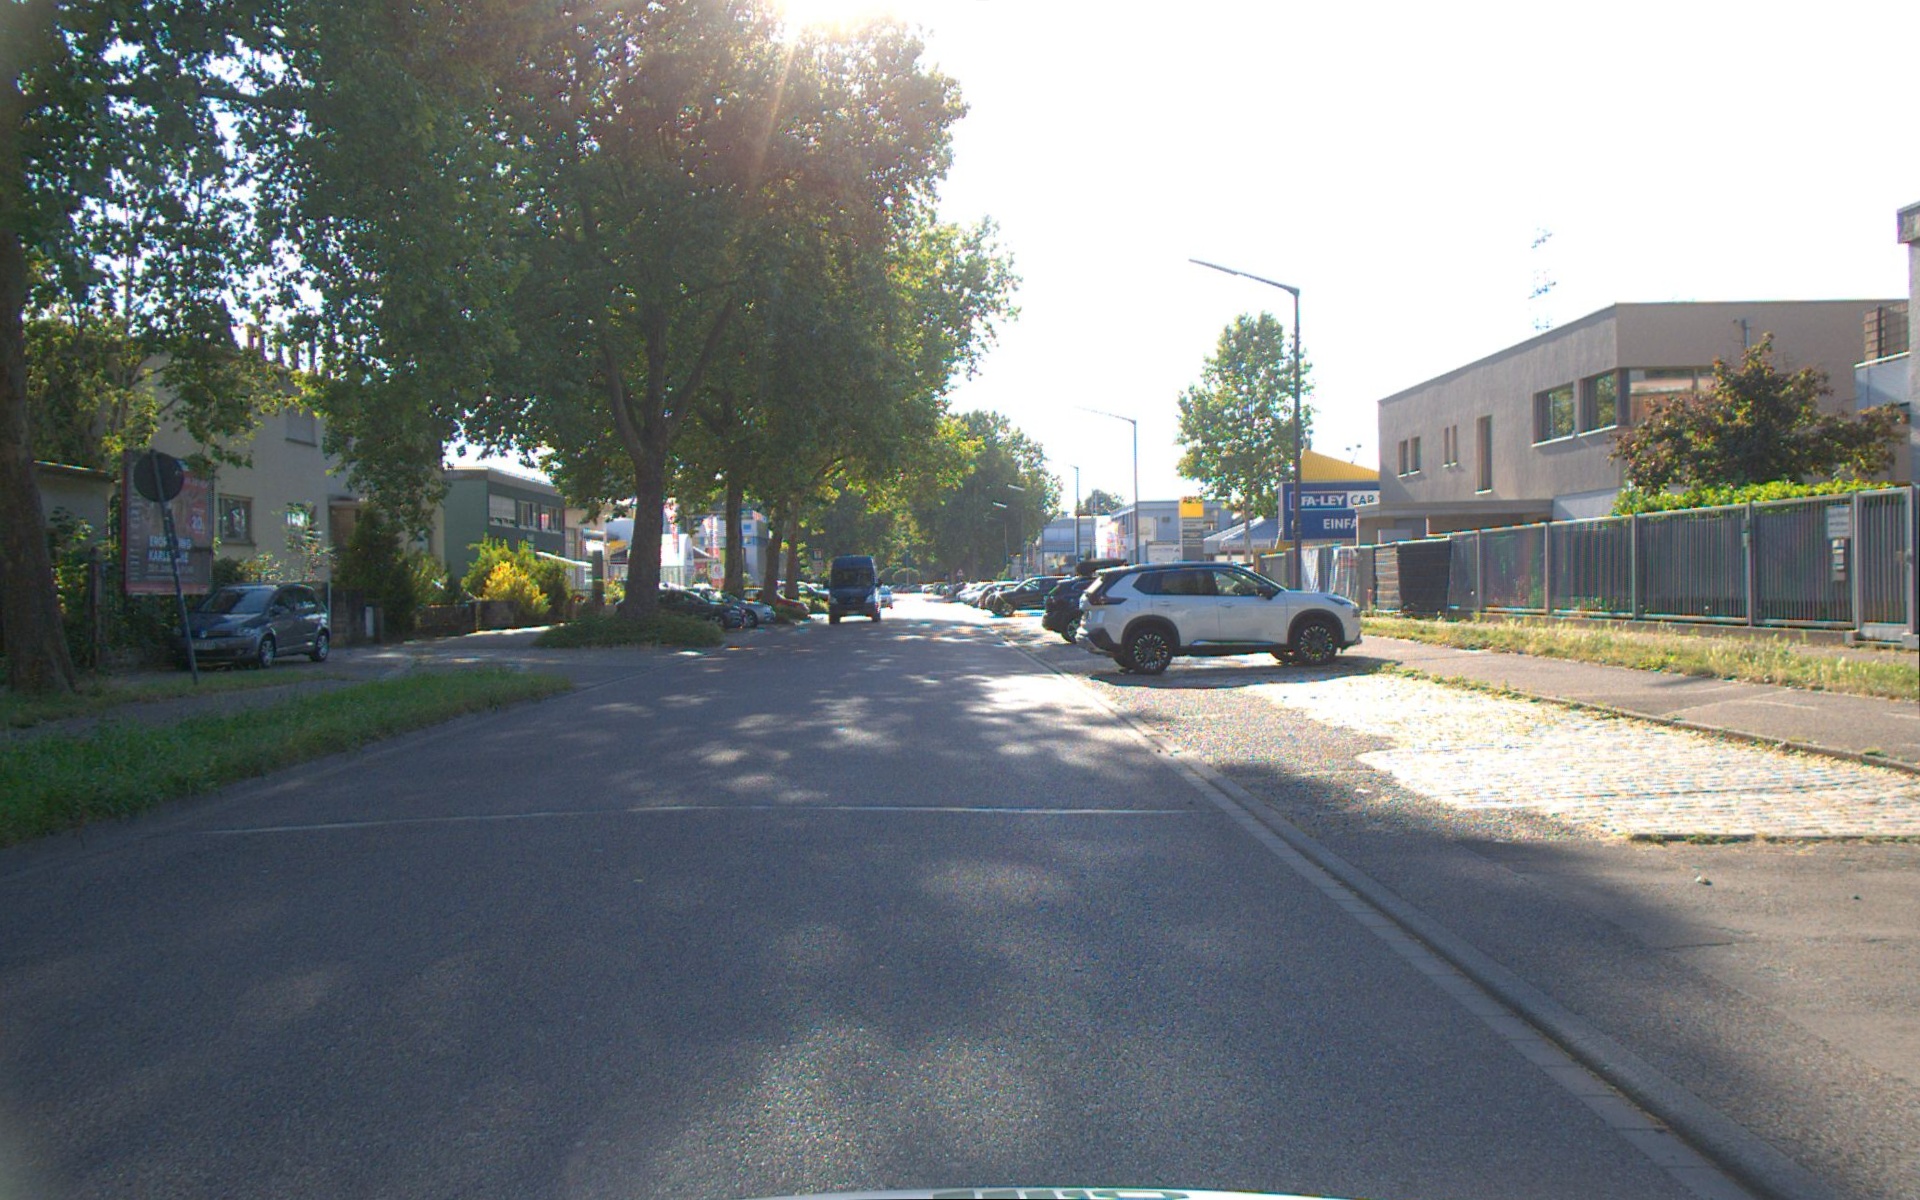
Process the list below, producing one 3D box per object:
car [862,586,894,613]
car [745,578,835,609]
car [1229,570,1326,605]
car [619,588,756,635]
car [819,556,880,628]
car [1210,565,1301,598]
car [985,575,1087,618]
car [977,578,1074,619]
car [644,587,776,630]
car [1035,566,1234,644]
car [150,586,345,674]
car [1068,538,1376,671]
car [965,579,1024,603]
[{"bbox_3d":[-5.115,-0.030,103.542,1.801,1.598,3.801,-3,0,-2],"label":"car"},{"bbox_3d":[-8.276,-0.306,80.668,4.209,1.472,1.999,1,0,-2],"label":"car"},{"bbox_3d":[14.350,-0.567,74.901,3.910,1.523,1.998,0,0,-6],"label":"car"},{"bbox_3d":[-8.966,0.372,54.747,4.267,1.447,1.999,-1,1,-4],"label":"car"},{"bbox_3d":[-4.366,-0.369,66.498,2.084,2.706,7.000,-1,1,-1],"label":"car"},{"bbox_3d":[14.013,-0.868,78.526,3.910,1.545,1.951,0,0,-6],"label":"car"},{"bbox_3d":[3.431,-0.164,75.238,4.507,1.607,2.000,-4,0,1],"label":"car"},{"bbox_3d":[3.152,-0.061,80.509,4.509,1.641,1.999,-4,0,-2],"label":"car"},{"bbox_3d":[-9.064,0.296,60.235,4.507,1.447,1.999,-1,1,-2],"label":"car"},{"bbox_3d":[4.243,0.120,40.707,4.533,1.553,1.999,-4,0,-3],"label":"car"},{"bbox_3d":[-13.880,0.547,32.518,1.952,1.603,4.273,0,0,0],"label":"car"},{"bbox_3d":[4.168,0.069,26.811,4.533,1.741,1.999,-4,0,-3],"label":"car"},{"bbox_3d":[2.716,-0.696,131.232,4.466,1.625,2.200,-4,0,-4],"label":"car"}]
